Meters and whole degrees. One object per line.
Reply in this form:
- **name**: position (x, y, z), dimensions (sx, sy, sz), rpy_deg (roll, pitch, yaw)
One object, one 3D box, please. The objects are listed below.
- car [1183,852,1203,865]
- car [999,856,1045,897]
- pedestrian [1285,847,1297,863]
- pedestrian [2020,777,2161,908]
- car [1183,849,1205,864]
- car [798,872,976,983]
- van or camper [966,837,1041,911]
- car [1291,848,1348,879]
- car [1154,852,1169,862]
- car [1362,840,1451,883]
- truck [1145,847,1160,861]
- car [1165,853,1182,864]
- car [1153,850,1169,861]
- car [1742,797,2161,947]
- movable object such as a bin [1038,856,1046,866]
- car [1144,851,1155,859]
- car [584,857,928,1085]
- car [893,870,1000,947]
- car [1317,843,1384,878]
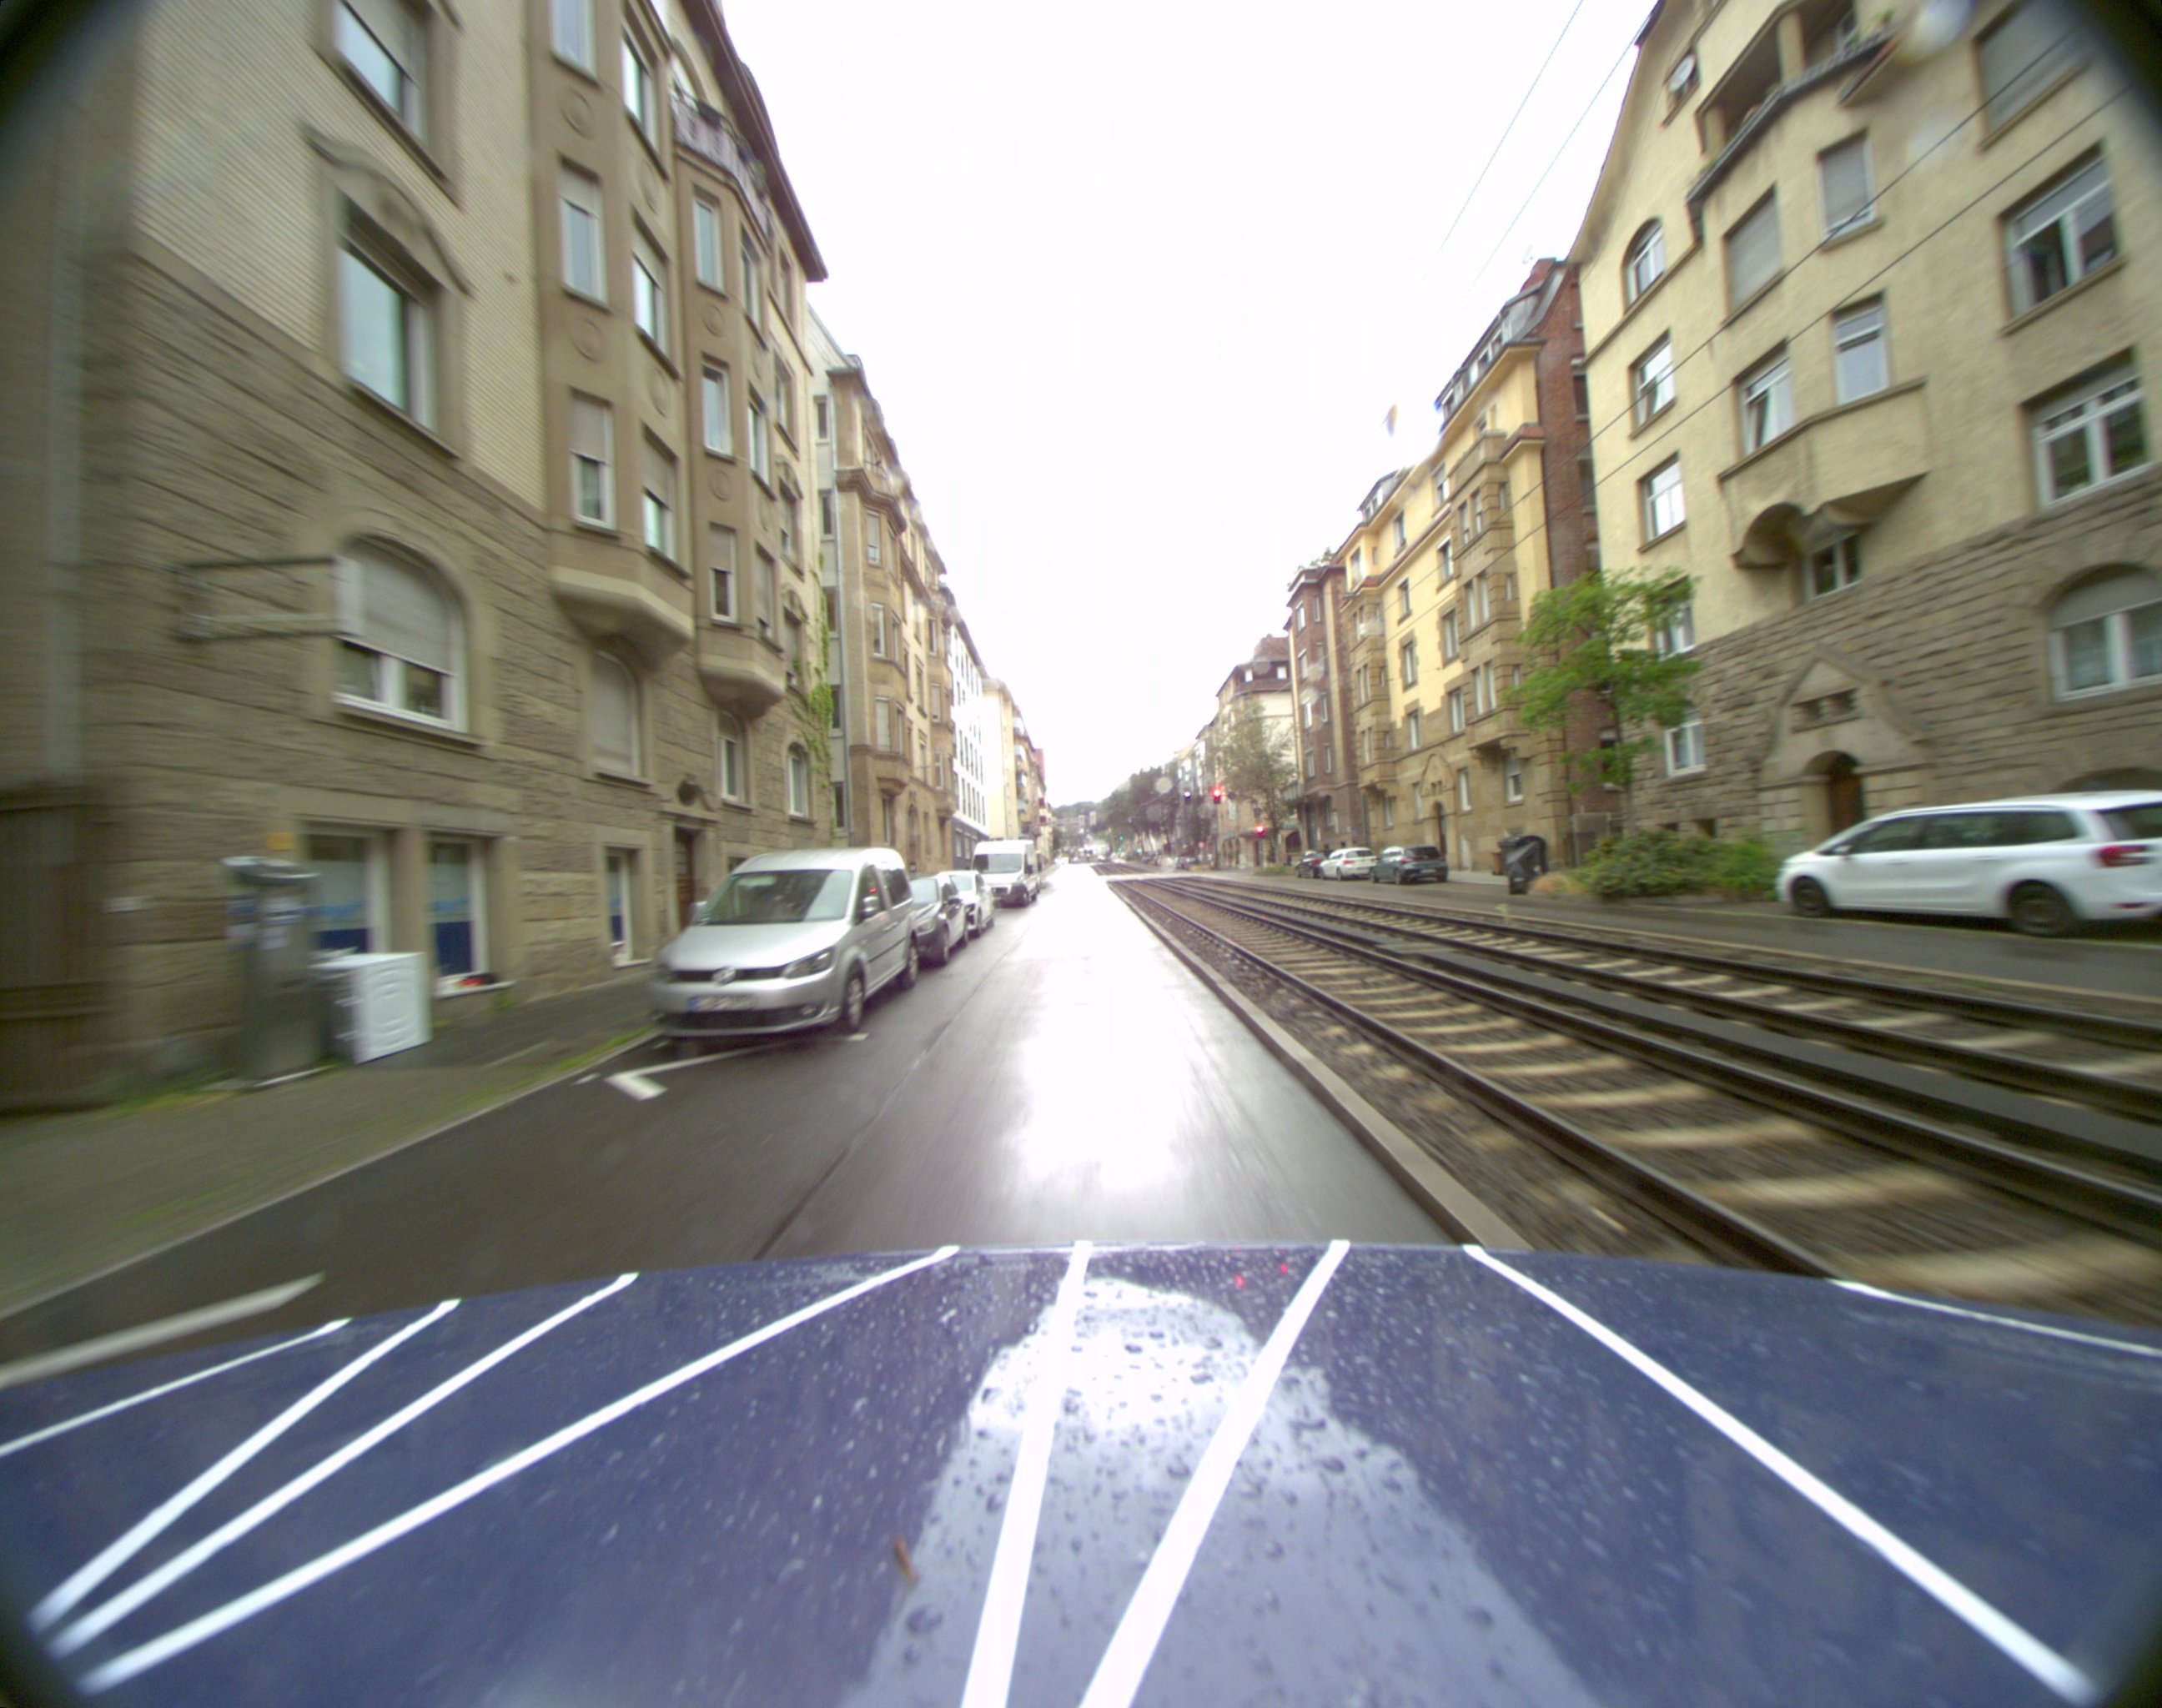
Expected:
- **car**: position (13.320, 0.543, 90.516), dimensions (1.812, 1.489, 3.526), rpy_deg (-4, 0, 0)
- **car**: position (-2.836, 1.037, 37.589), dimensions (1.773, 1.797, 4.482), rpy_deg (-4, 0, 0)
- **pedestrian**: position (19.464, 0.110, 70.494), dimensions (0.819, 1.407, 0.721), rpy_deg (-4, 0, 4)
- **pedestrian**: position (14.654, -0.158, 10.960), dimensions (1.010, 1.743, 0.924), rpy_deg (-5, 0, -6)
- **car**: position (12.817, 0.306, 86.366), dimensions (1.769, 1.543, 3.894), rpy_deg (-3, 0, 0)
- **car**: position (-3.088, 1.118, 13.052), dimensions (1.999, 1.433, 3.999), rpy_deg (-3, 0, -1)
- **van or camper**: position (-2.807, 0.671, 29.095), dimensions (2.069, 2.454, 6.118), rpy_deg (-3, 0, 1)
- **car**: position (12.588, 0.444, 40.361), dimensions (1.769, 1.477, 4.000), rpy_deg (-3, 1, 1)
- **car**: position (13.010, 0.459, 123.446), dimensions (1.911, 1.432, 4.468), rpy_deg (-3, 0, -1)
- **car**: position (12.381, 0.264, 29.150), dimensions (1.565, 1.429, 4.146), rpy_deg (-5, 0, 1)
- **truck**: position (12.937, -0.024, 137.616), dimensions (2.197, 2.332, 6.351), rpy_deg (-3, 2, 2)
- **car**: position (12.749, 0.649, 104.828), dimensions (1.706, 1.328, 4.130), rpy_deg (-5, 0, 1)
- **car**: position (12.198, 0.281, 116.110), dimensions (1.781, 1.560, 4.158), rpy_deg (-3, 0, -1)
- **car**: position (11.893, 0.184, 10.163), dimensions (1.791, 1.580, 4.347), rpy_deg (-4, 0, -12)
- **movable object such as a bin**: position (-5.487, 0.966, 107.945), dimensions (1.011, 1.443, 1.393), rpy_deg (-1, 1, 0)
- **car**: position (13.263, 0.224, 147.740), dimensions (1.709, 1.451, 4.360), rpy_deg (-5, 0, 0)
- **car**: position (-3.060, 0.960, 8.315), dimensions (1.779, 1.766, 4.361), rpy_deg (-3, 0, 1)
- **car**: position (-2.960, 1.164, 17.505), dimensions (1.680, 1.403, 4.000), rpy_deg (-4, 0, 0)
- **car**: position (12.384, 0.288, 35.207), dimensions (1.671, 1.417, 4.263), rpy_deg (-3, 0, 2)
